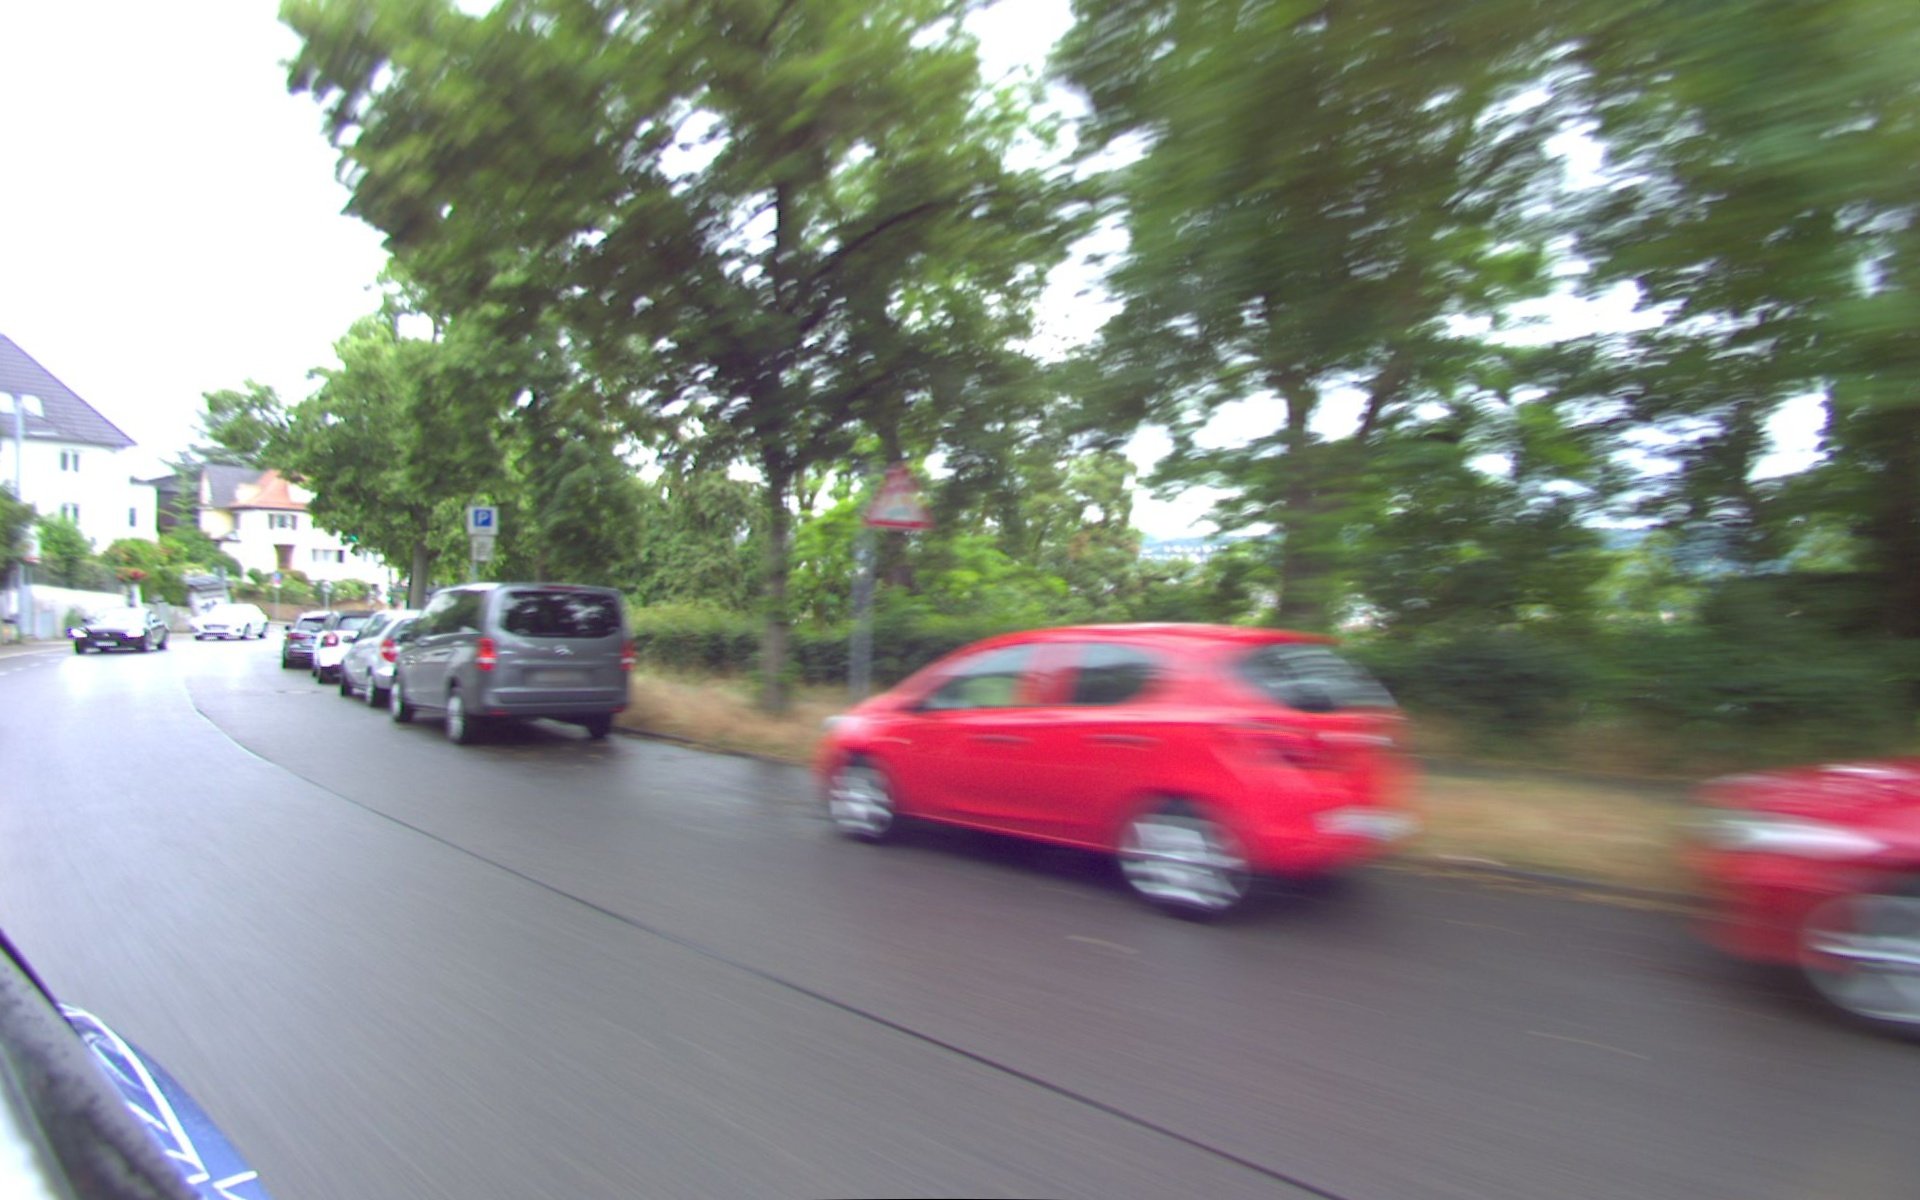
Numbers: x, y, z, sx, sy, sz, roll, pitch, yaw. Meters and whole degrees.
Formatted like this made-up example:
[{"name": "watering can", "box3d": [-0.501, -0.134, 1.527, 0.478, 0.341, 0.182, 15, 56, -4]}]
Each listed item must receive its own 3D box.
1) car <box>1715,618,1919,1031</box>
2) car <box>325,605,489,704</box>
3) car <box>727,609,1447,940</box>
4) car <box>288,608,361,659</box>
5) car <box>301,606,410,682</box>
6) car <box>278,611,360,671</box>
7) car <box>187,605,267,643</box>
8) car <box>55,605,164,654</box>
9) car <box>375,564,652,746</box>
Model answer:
[{"name": "car", "box3d": [4.858, 0.797, 3.438, 3.542, 1.419, 1.934, -1, -3, 41]}, {"name": "car", "box3d": [-9.853, 0.925, 17.905, 1.663, 1.564, 3.772, 5, -4, -41]}, {"name": "car", "box3d": [0.547, 0.859, 6.827, 4.576, 1.472, 1.932, -1, -3, 44]}, {"name": "car", "box3d": [-20.222, 1.031, 32.319, 1.632, 1.440, 4.389, 2, -1, -28]}, {"name": "car", "box3d": [-13.737, 0.951, 22.872, 1.661, 1.521, 4.216, 4, -3, -36]}, {"name": "car", "box3d": [-17.236, 1.059, 27.154, 1.661, 1.391, 4.513, 4, -3, -34]}, {"name": "car", "box3d": [-33.618, 1.078, 46.521, 1.997, 1.641, 4.242, 2, -1, -23]}, {"name": "car", "box3d": [-27.444, 0.908, 32.799, 1.997, 1.474, 4.012, 0, 0, -30]}, {"name": "car", "box3d": [-6.155, 0.713, 13.590, 1.930, 1.983, 5.009, 5, -4, -41]}]
